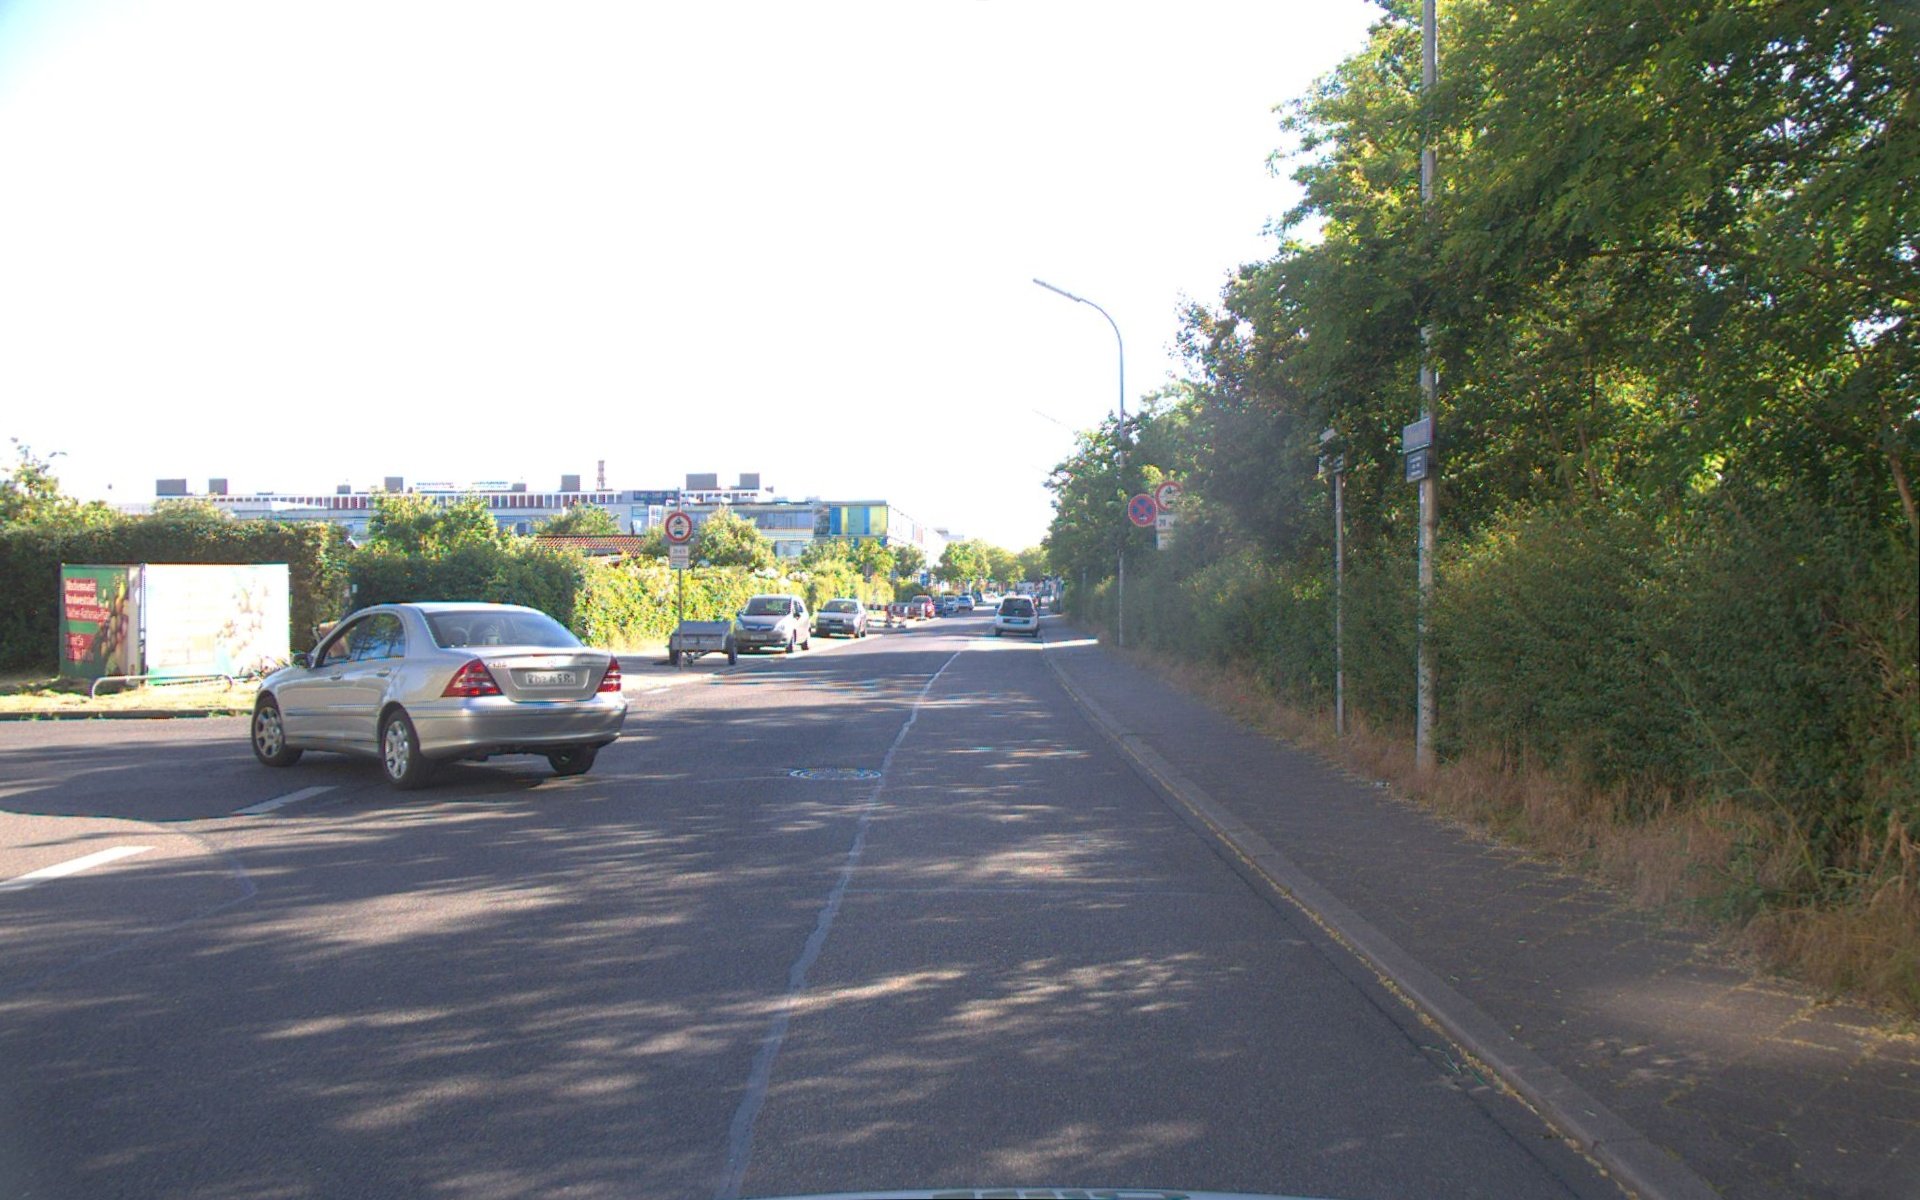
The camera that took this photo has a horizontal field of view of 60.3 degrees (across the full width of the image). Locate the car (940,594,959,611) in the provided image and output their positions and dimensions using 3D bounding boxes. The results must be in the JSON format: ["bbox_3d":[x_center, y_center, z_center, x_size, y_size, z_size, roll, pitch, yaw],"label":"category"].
[{"bbox_3d":[-0.949,0.230,146.970,1.527,1.521,3.759,0,0,2],"label":"car"}]

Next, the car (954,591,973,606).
[{"bbox_3d":[0.343,-0.132,176.304,1.816,1.453,4.135,2,0,2],"label":"car"}]

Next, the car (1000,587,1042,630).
[{"bbox_3d":[2.391,0.327,64.840,1.523,1.565,3.557,3,0,3],"label":"car"}]

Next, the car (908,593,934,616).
[{"bbox_3d":[-2.624,0.294,111.715,1.527,1.521,3.571,0,0,2],"label":"car"}]

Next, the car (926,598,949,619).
[{"bbox_3d":[-1.745,0.662,129.931,1.527,1.521,3.571,3,0,2],"label":"car"}]

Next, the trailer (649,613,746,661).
[{"bbox_3d":[-5.845,0.815,37.006,1.511,0.970,2.648,2,-1,5],"label":"trailer"}]

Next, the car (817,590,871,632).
[{"bbox_3d":[-4.504,0.428,64.881,1.609,1.583,4.419,0,0,2],"label":"car"}]

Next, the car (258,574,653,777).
[{"bbox_3d":[-4.405,0.577,14.110,1.728,1.478,3.938,0,-1,-42],"label":"car"}]

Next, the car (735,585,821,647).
[{"bbox_3d":[-5.155,0.461,47.348,1.609,1.628,4.313,2,0,4],"label":"car"}]
